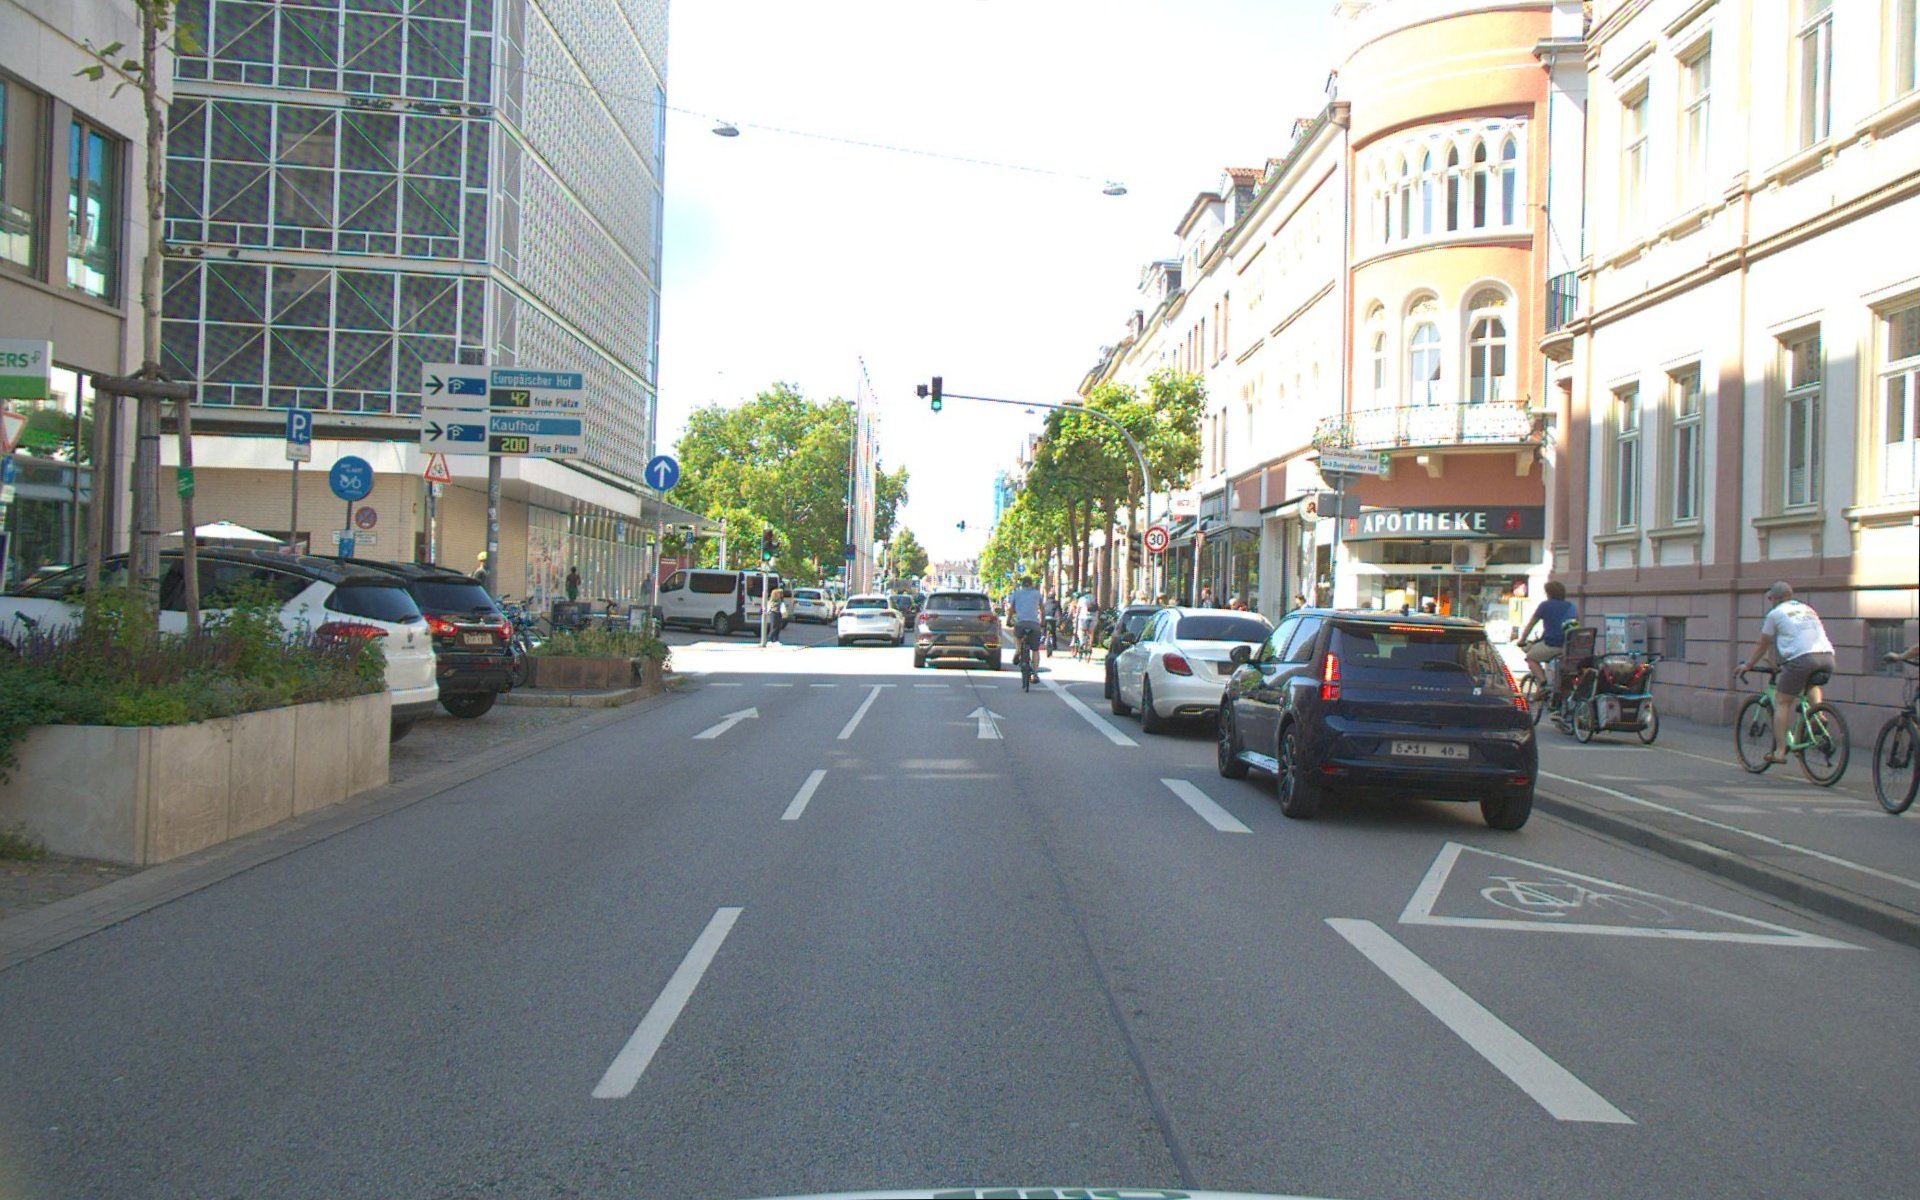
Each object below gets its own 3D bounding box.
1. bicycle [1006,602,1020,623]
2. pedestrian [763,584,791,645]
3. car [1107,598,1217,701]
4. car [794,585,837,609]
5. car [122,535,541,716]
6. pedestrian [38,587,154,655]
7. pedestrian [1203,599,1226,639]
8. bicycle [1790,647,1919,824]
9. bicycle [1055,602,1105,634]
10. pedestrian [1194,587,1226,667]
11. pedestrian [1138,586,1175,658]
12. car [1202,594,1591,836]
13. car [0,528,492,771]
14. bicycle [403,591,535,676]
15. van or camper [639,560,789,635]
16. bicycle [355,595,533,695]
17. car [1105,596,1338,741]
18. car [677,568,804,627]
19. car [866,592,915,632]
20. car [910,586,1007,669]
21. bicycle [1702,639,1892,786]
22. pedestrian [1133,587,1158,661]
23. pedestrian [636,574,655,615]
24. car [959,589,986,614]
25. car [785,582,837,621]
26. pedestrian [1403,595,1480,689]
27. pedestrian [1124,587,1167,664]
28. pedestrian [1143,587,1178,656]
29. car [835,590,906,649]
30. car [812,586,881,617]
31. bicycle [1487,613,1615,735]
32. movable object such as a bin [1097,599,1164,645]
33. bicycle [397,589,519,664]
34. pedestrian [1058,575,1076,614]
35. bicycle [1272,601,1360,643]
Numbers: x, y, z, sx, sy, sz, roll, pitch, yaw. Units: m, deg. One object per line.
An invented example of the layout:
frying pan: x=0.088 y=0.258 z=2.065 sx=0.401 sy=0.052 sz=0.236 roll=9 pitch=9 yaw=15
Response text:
bicycle: x=2.679 y=0.621 z=83.391 sx=0.634 sy=1.015 sz=2.030 roll=1 pitch=0 yaw=0
pedestrian: x=-4.967 y=0.385 z=44.868 sx=0.628 sy=1.586 sz=0.679 roll=3 pitch=0 yaw=-12
car: x=3.327 y=0.784 z=26.908 sx=1.594 sy=1.504 sz=3.734 roll=2 pitch=-1 yaw=8
car: x=-12.611 y=-0.263 z=144.395 sx=1.821 sy=1.989 sz=4.761 roll=1 pitch=-1 yaw=20
car: x=-6.870 y=0.257 z=18.141 sx=3.940 sy=1.630 sz=1.958 roll=4 pitch=-1 yaw=22
pedestrian: x=-12.560 y=0.297 z=24.080 sx=1.224 sy=0.941 sz=0.841 roll=1 pitch=0 yaw=-2
pedestrian: x=8.817 y=0.651 z=57.232 sx=0.667 sy=1.356 sz=0.531 roll=2 pitch=0 yaw=-3
bicycle: x=7.083 y=0.986 z=11.821 sx=0.732 sy=1.146 sz=3.241 roll=0 pitch=1 yaw=1
bicycle: x=4.532 y=0.666 z=62.402 sx=1.802 sy=1.112 sz=0.564 roll=3 pitch=0 yaw=-1
pedestrian: x=6.076 y=0.654 z=40.178 sx=0.625 sy=1.875 sz=0.615 roll=3 pitch=-1 yaw=12
pedestrian: x=5.125 y=0.562 z=43.140 sx=0.771 sy=1.826 sz=0.641 roll=3 pitch=0 yaw=-3
car: x=3.283 y=0.805 z=13.369 sx=1.848 sy=1.517 sz=4.289 roll=4 pitch=-1 yaw=-1
car: x=-6.611 y=0.377 z=14.735 sx=4.071 sy=1.665 sz=2.104 roll=5 pitch=0 yaw=8
bicycle: x=-7.542 y=0.501 z=25.380 sx=2.017 sy=1.146 sz=0.561 roll=4 pitch=1 yaw=24
van or camper: x=-7.647 y=-0.094 z=51.299 sx=4.574 sy=2.048 sz=1.990 roll=4 pitch=1 yaw=39
bicycle: x=-6.646 y=0.577 z=21.340 sx=2.096 sy=1.146 sz=0.485 roll=3 pitch=1 yaw=0
car: x=3.053 y=0.738 z=20.404 sx=1.913 sy=1.449 sz=4.885 roll=3 pitch=0 yaw=-2
car: x=-7.916 y=-0.113 z=59.577 sx=4.358 sy=1.943 sz=2.002 roll=2 pitch=1 yaw=36
car: x=-2.713 y=0.438 z=64.856 sx=1.808 sy=1.474 sz=3.999 roll=1 pitch=0 yaw=-1
car: x=-0.089 y=0.518 z=33.931 sx=1.809 sy=1.586 sz=3.998 roll=1 pitch=0 yaw=-3
bicycle: x=7.505 y=0.968 z=14.943 sx=0.560 sy=1.146 sz=2.076 roll=0 pitch=1 yaw=-4
pedestrian: x=4.670 y=0.587 z=41.673 sx=0.443 sy=1.826 sz=0.607 roll=3 pitch=0 yaw=-3
pedestrian: x=-12.552 y=-0.226 z=65.952 sx=0.665 sy=1.586 sz=0.640 roll=1 pitch=0 yaw=-5
car: x=0.910 y=0.125 z=119.865 sx=1.807 sy=1.697 sz=4.000 roll=3 pitch=0 yaw=0
car: x=-6.368 y=0.036 z=71.093 sx=1.762 sy=1.549 sz=4.738 roll=3 pitch=1 yaw=0
pedestrian: x=8.580 y=0.750 z=29.503 sx=0.887 sy=1.640 sz=0.970 roll=0 pitch=-3 yaw=-21
pedestrian: x=4.402 y=0.615 z=39.318 sx=0.627 sy=1.737 sz=0.789 roll=-8 pitch=-2 yaw=-5
pedestrian: x=5.143 y=0.546 z=42.448 sx=0.771 sy=1.720 sz=0.641 roll=2 pitch=0 yaw=-3
car: x=-2.506 y=0.511 z=47.213 sx=1.808 sy=1.587 sz=4.000 roll=1 pitch=0 yaw=0
car: x=-6.686 y=0.067 z=97.952 sx=1.854 sy=1.568 sz=4.858 roll=-1 pitch=1 yaw=26
bicycle: x=7.084 y=0.853 z=19.946 sx=0.717 sy=1.291 sz=2.283 roll=2 pitch=1 yaw=1
movable object such as a bin: x=5.017 y=0.645 z=48.559 sx=1.812 sy=1.209 sz=0.653 roll=3 pitch=0 yaw=15
bicycle: x=-8.302 y=0.427 z=27.330 sx=2.017 sy=1.146 sz=0.646 roll=2 pitch=0 yaw=26
pedestrian: x=4.940 y=-0.252 z=76.137 sx=0.626 sy=1.718 sz=0.843 roll=4 pitch=1 yaw=-3
bicycle: x=7.717 y=0.472 z=35.907 sx=1.784 sy=0.859 sz=0.501 roll=1 pitch=0 yaw=0
